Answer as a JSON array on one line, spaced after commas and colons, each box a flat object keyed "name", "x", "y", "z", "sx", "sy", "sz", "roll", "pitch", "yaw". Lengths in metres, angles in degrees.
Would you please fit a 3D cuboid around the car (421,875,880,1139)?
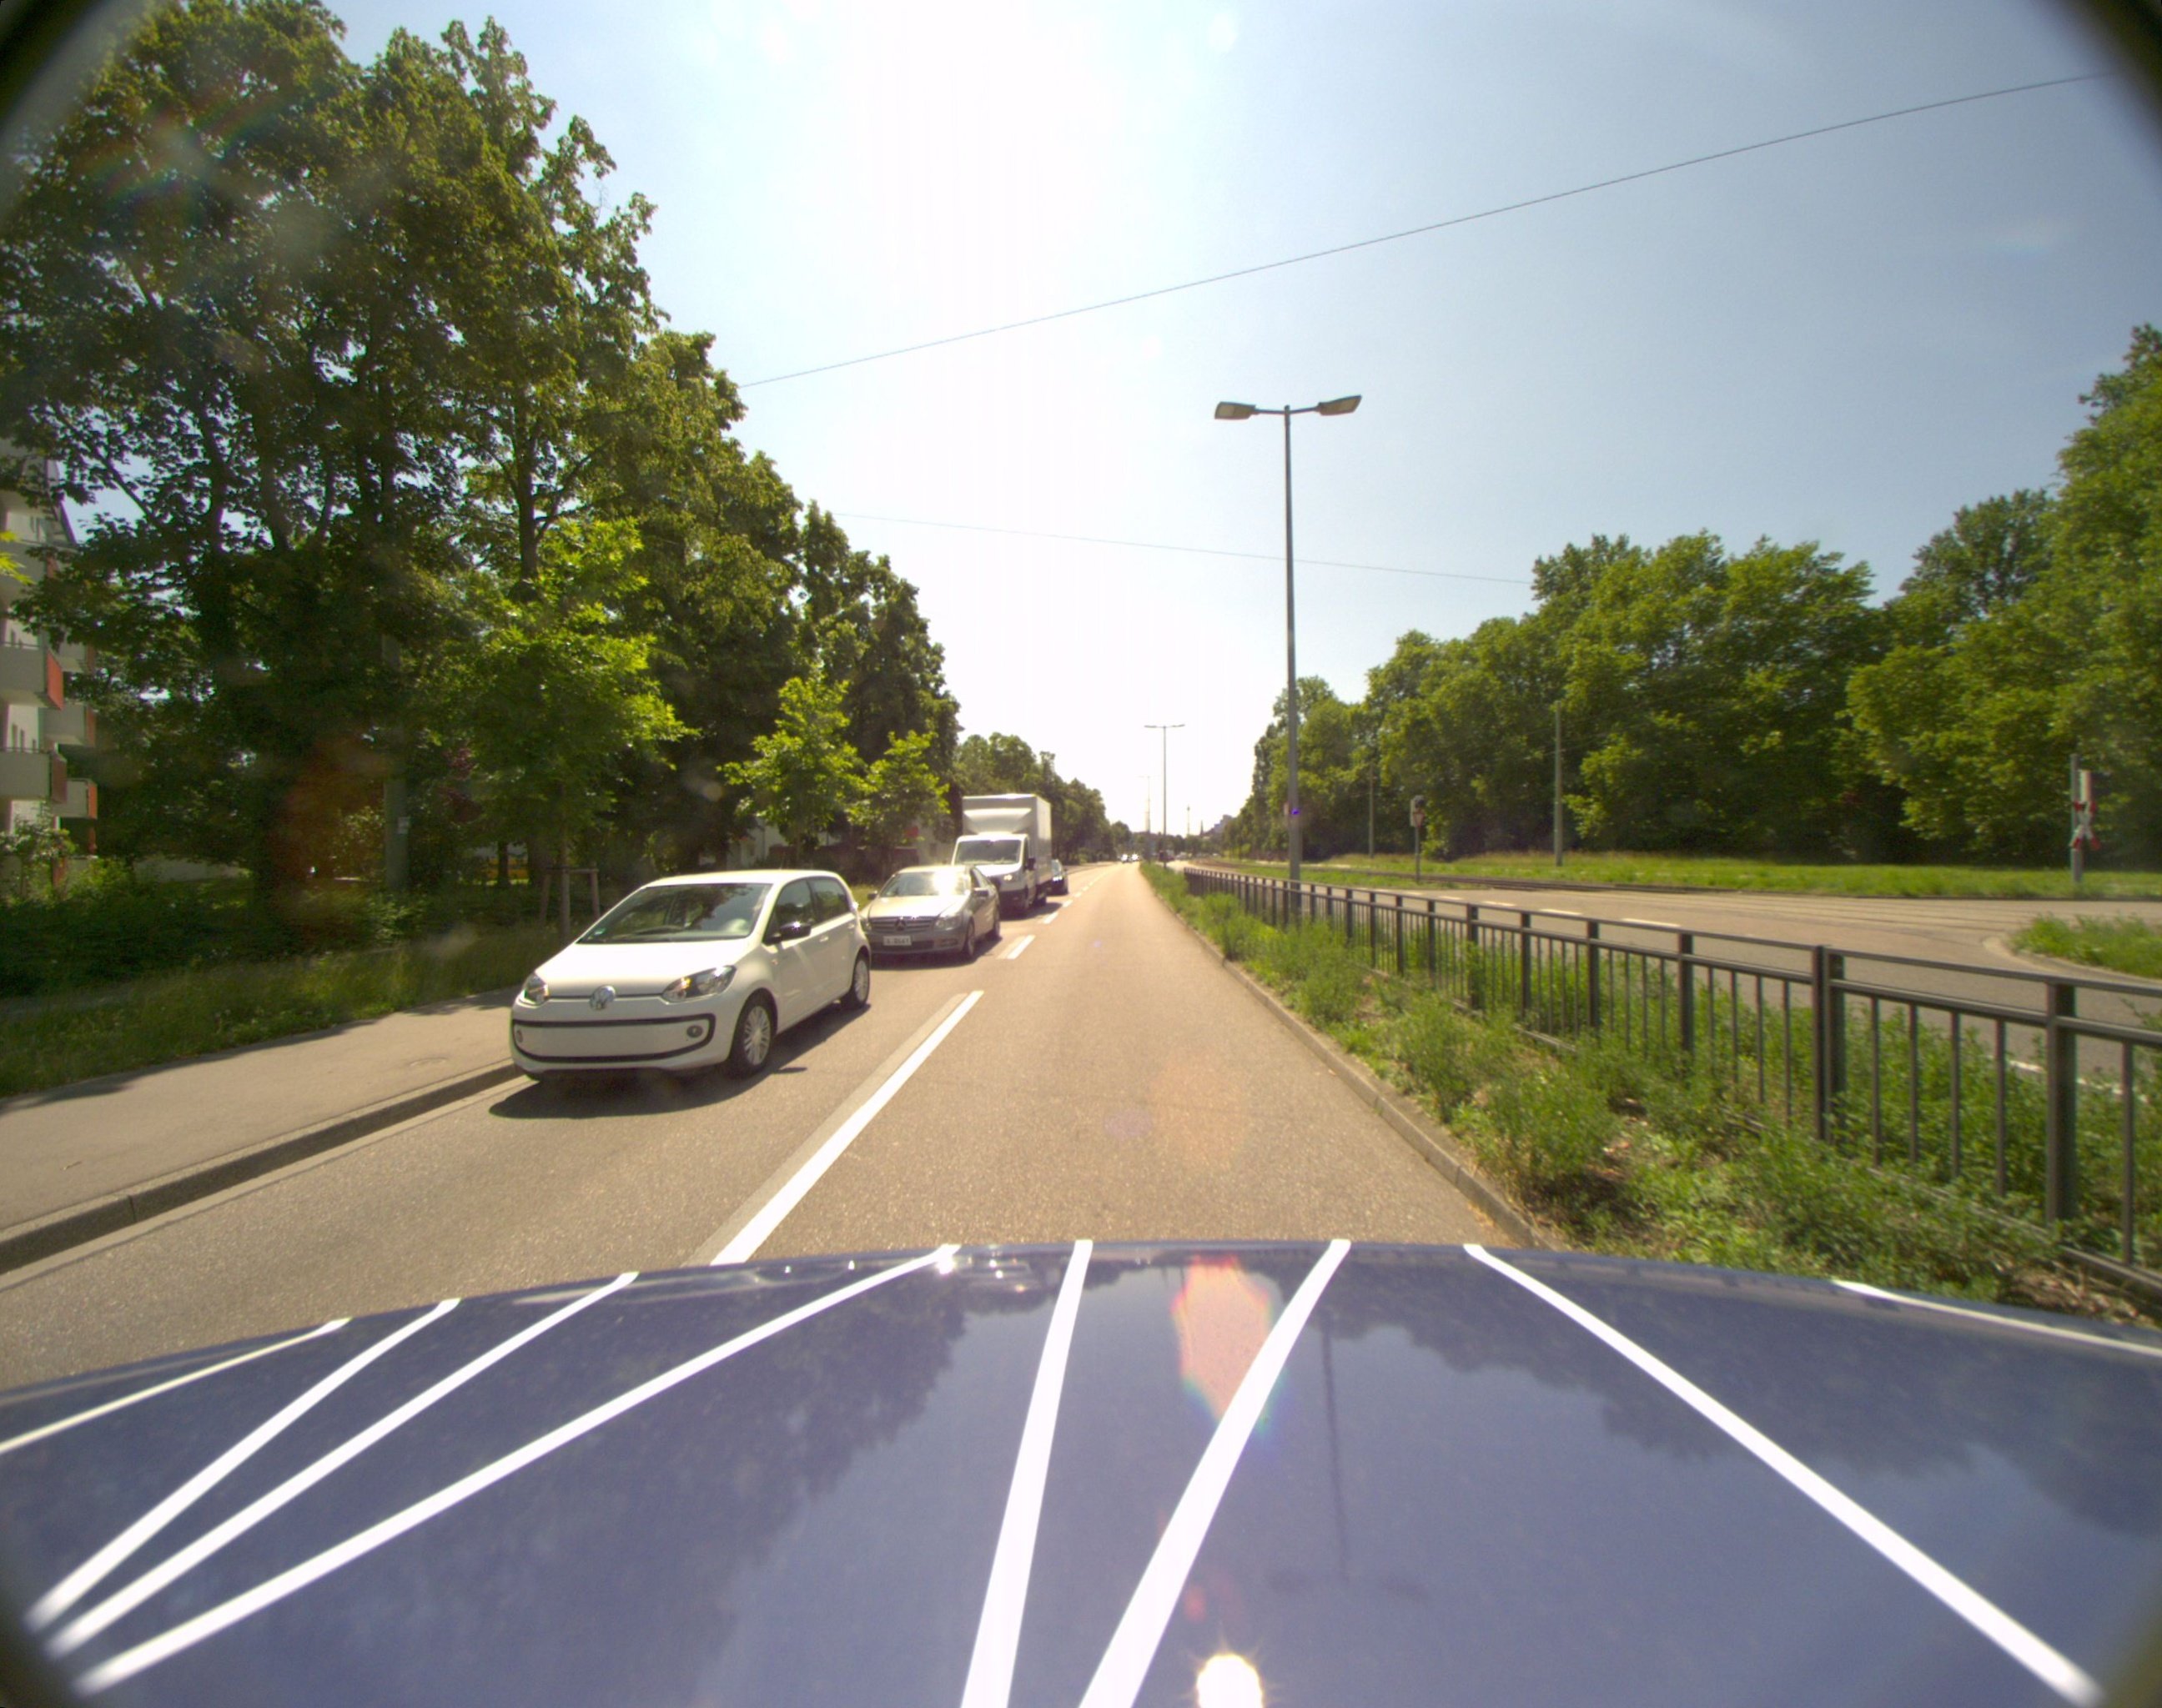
[{"name": "car", "x": -3.125, "y": 0.988, "z": 6.524, "sx": 1.730, "sy": 1.470, "sz": 3.771, "roll": -1, "pitch": 0, "yaw": 1}]

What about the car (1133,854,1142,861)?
[{"name": "car", "x": 14.019, "y": 0.865, "z": 187.594, "sx": 1.997, "sy": 1.499, "sz": 4.002, "roll": -1, "pitch": 0, "yaw": 7}]

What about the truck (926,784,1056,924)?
[{"name": "truck", "x": -2.299, "y": -0.008, "z": 22.284, "sx": 2.433, "sy": 3.326, "sz": 7.923, "roll": -1, "pitch": 0, "yaw": 3}]

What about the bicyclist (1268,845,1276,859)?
[{"name": "bicyclist", "x": 26.542, "y": -0.281, "z": 105.504, "sx": 0.862, "sy": 1.796, "sz": 1.118, "roll": -1, "pitch": 1, "yaw": 1}]

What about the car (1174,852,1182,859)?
[{"name": "car", "x": 26.555, "y": 0.311, "z": 207.144, "sx": 1.998, "sy": 1.847, "sz": 4.001, "roll": -1, "pitch": 0, "yaw": 5}]

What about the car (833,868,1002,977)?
[{"name": "car", "x": -2.474, "y": 0.985, "z": 12.546, "sx": 1.840, "sy": 1.400, "sz": 4.087, "roll": -1, "pitch": 0, "yaw": 1}]

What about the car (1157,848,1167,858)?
[{"name": "car", "x": 16.368, "y": -0.234, "z": 153.981, "sx": 1.997, "sy": 1.847, "sz": 4.002, "roll": -1, "pitch": 0, "yaw": 7}]

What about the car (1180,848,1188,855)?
[{"name": "car", "x": 27.213, "y": -0.641, "z": 200.837, "sx": 1.998, "sy": 1.847, "sz": 4.001, "roll": -1, "pitch": 0, "yaw": 5}]

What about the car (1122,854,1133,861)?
[{"name": "car", "x": 9.411, "y": 0.691, "z": 153.225, "sx": 1.997, "sy": 1.499, "sz": 4.002, "roll": -1, "pitch": 0, "yaw": 7}]

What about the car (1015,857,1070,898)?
[{"name": "car", "x": -1.507, "y": 0.914, "z": 31.460, "sx": 1.998, "sy": 1.499, "sz": 4.000, "roll": -1, "pitch": 0, "yaw": 1}]
